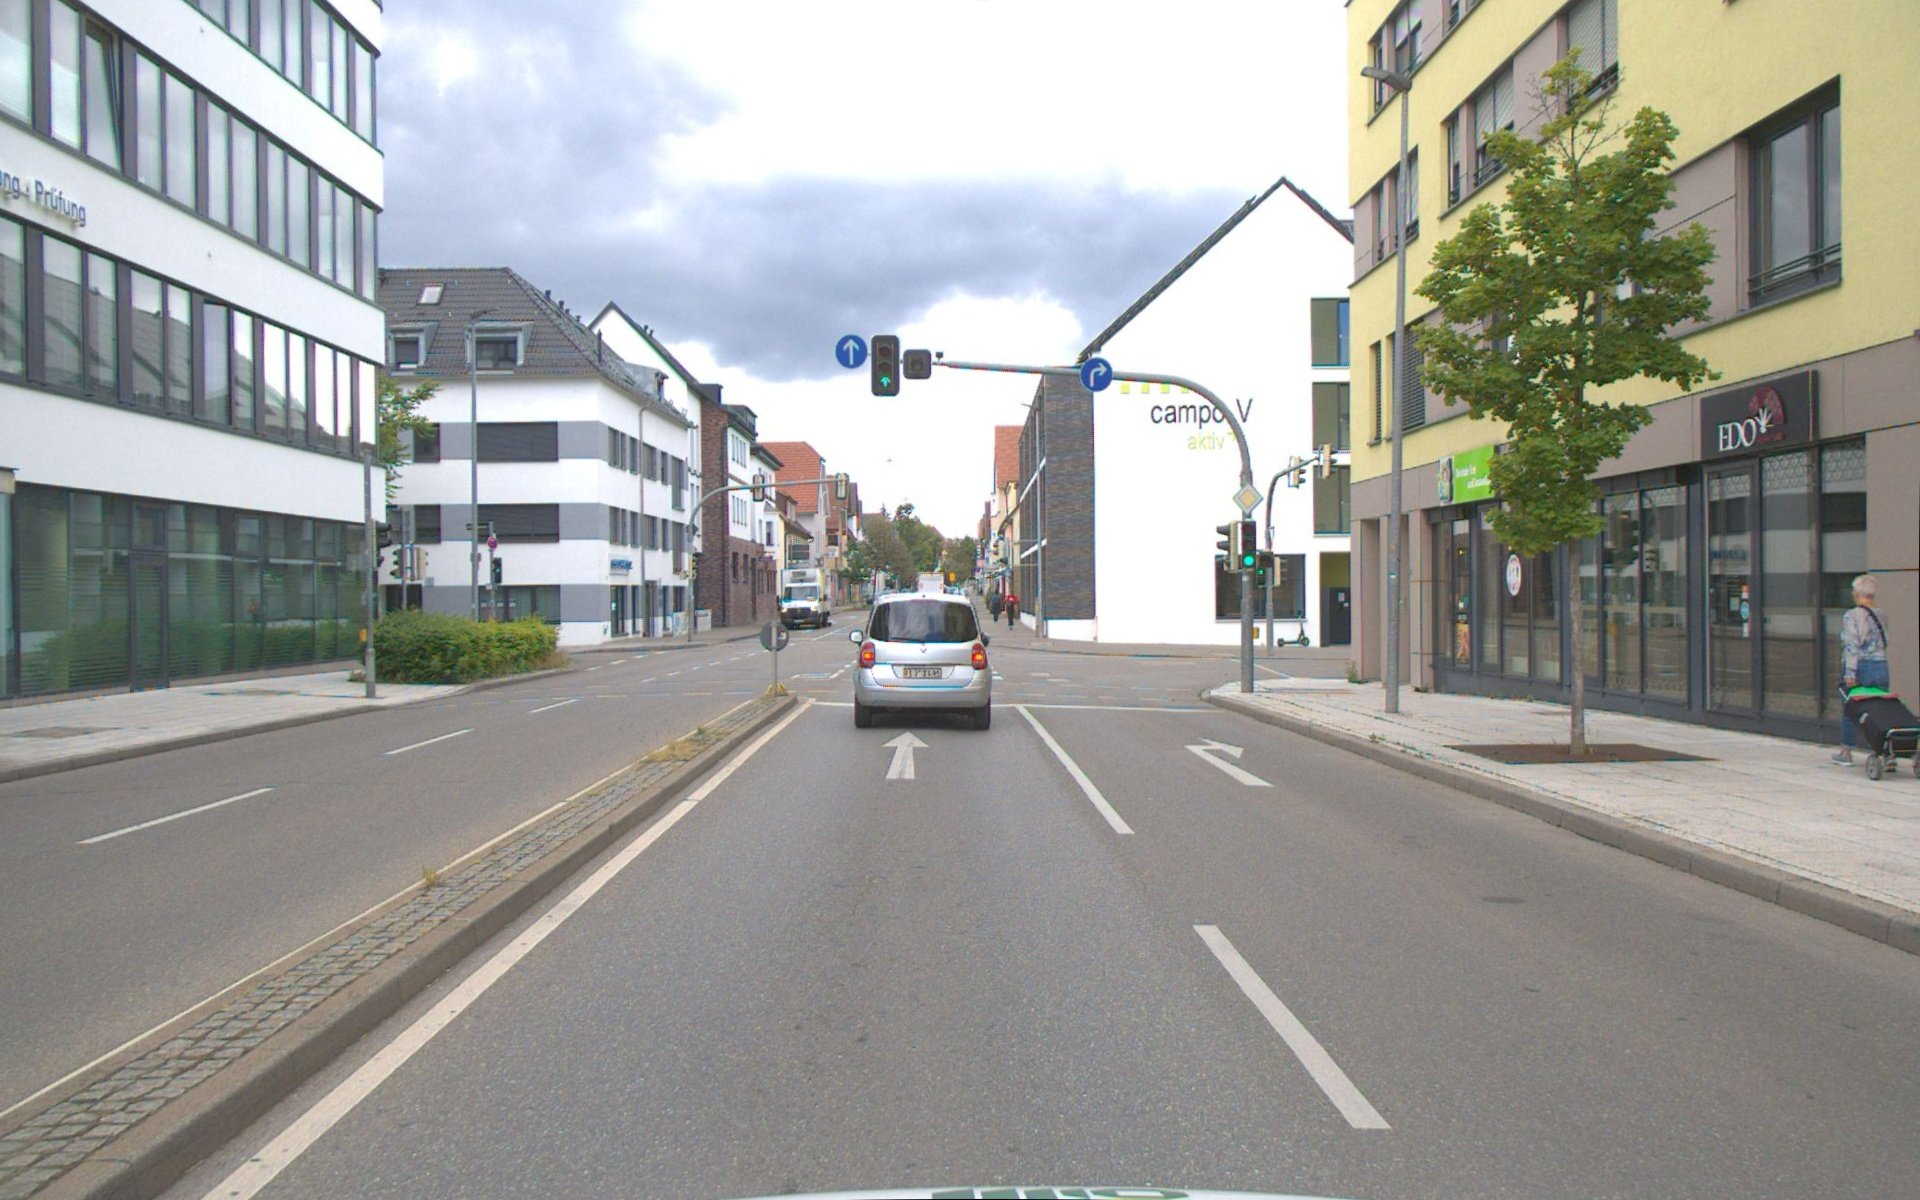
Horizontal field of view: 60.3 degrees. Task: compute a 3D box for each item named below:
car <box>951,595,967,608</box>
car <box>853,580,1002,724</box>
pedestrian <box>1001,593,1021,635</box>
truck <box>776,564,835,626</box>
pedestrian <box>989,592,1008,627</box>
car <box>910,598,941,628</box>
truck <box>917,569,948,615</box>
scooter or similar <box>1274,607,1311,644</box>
[{"bbox_3d":[-0.124,0.163,185.171,1.775,1.378,4.000,-1,0,0],"label":"car"},{"bbox_3d":[-0.400,0.584,20.846,1.672,1.606,3.999,1,0,-1],"label":"car"},{"bbox_3d":[2.264,0.625,73.453,0.791,1.818,0.861,-3,0,0],"label":"pedestrian"},{"bbox_3d":[-7.881,-0.265,85.205,2.385,3.005,8.363,1,0,-1],"label":"truck"},{"bbox_3d":[2.020,0.503,87.475,0.871,1.818,0.785,-3,0,0],"label":"pedestrian"},{"bbox_3d":[-1.964,0.730,94.891,1.672,1.606,3.999,1,0,-1],"label":"car"},{"bbox_3d":[-2.367,-0.700,144.489,2.542,3.925,6.848,0,0,0],"label":"truck"},{"bbox_3d":[11.685,0.905,58.187,1.205,1.257,0.406,1,0,0],"label":"scooter or similar"}]
